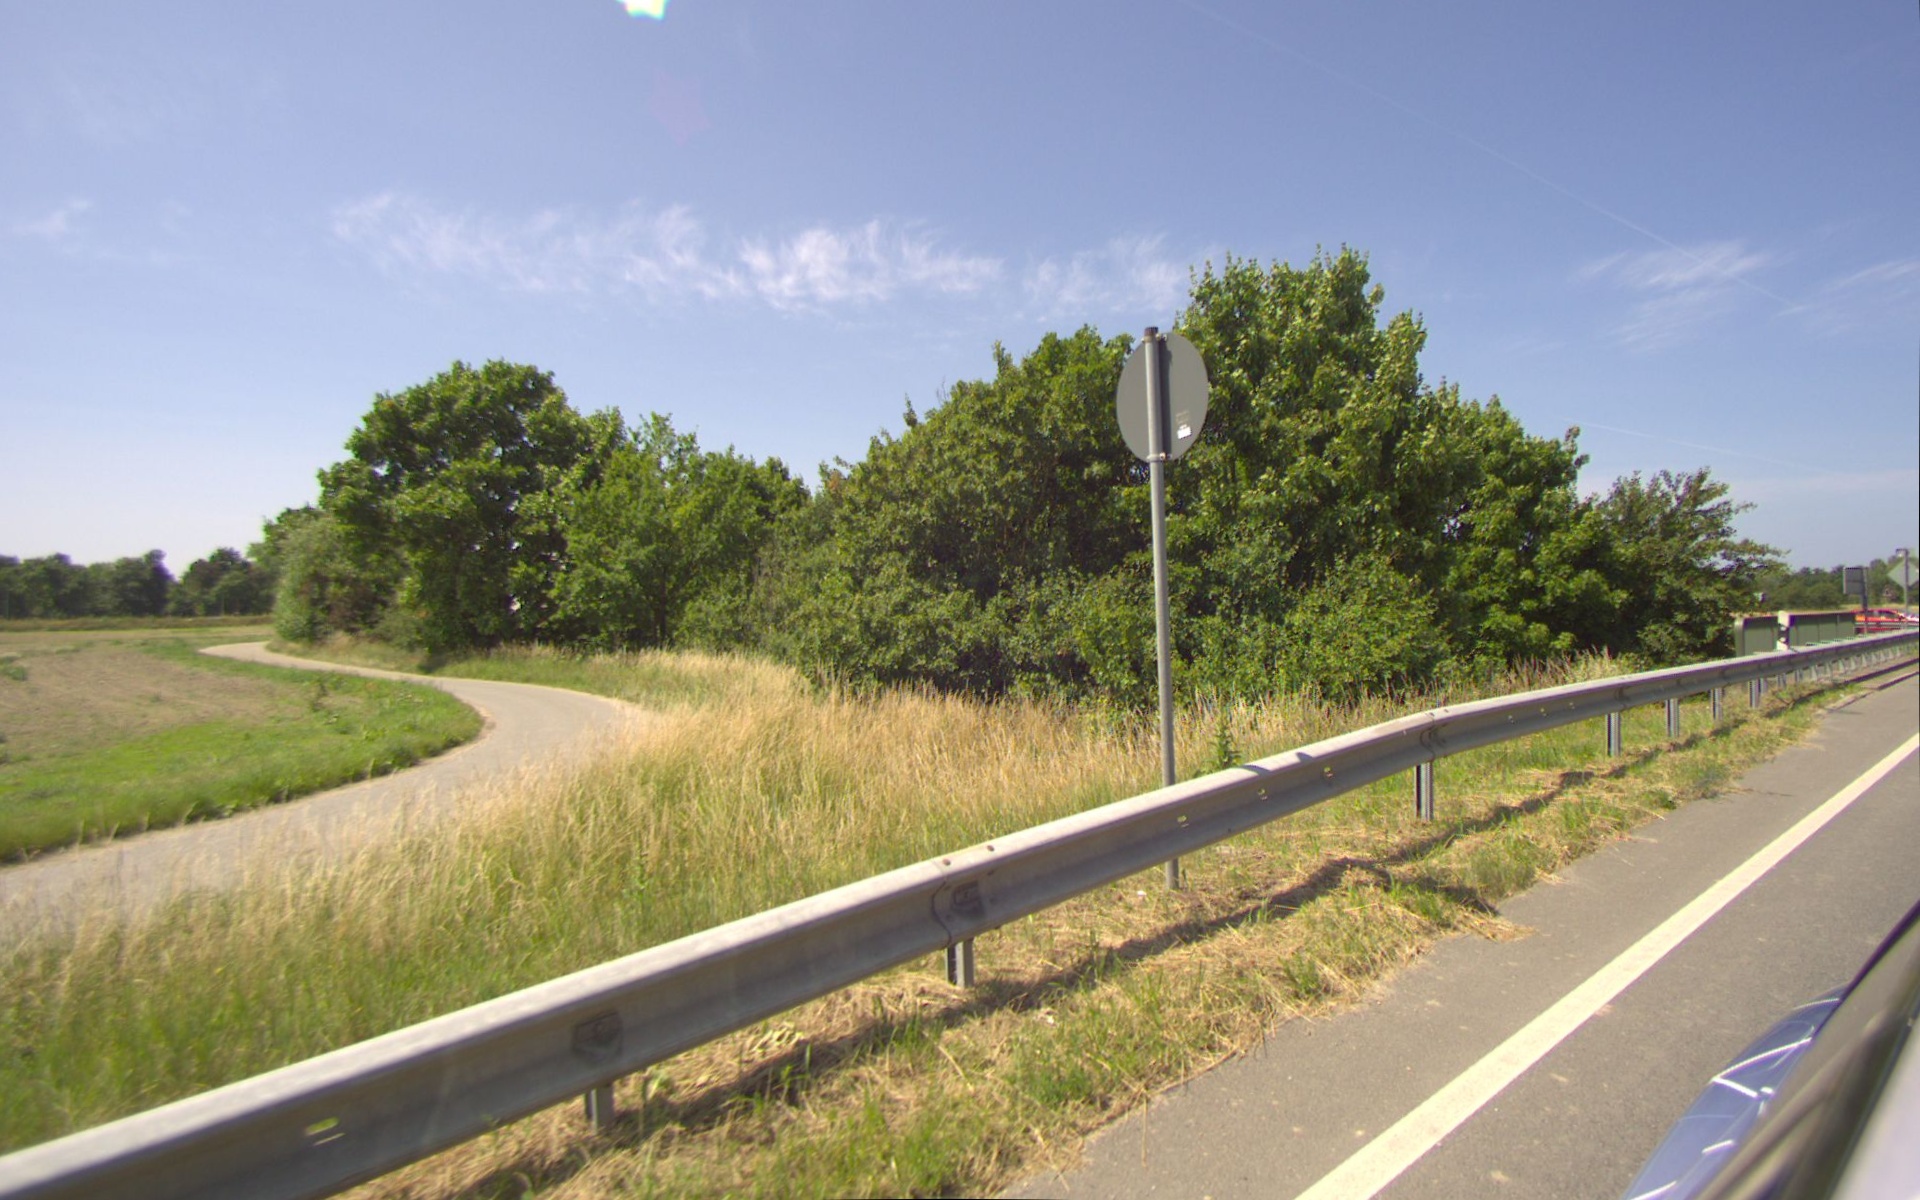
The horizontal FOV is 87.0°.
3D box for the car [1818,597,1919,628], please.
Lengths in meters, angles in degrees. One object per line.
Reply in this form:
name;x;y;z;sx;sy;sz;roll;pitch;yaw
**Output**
car;45.076;0.629;49.675;1.743;1.436;4.171;-1;-1;-27
